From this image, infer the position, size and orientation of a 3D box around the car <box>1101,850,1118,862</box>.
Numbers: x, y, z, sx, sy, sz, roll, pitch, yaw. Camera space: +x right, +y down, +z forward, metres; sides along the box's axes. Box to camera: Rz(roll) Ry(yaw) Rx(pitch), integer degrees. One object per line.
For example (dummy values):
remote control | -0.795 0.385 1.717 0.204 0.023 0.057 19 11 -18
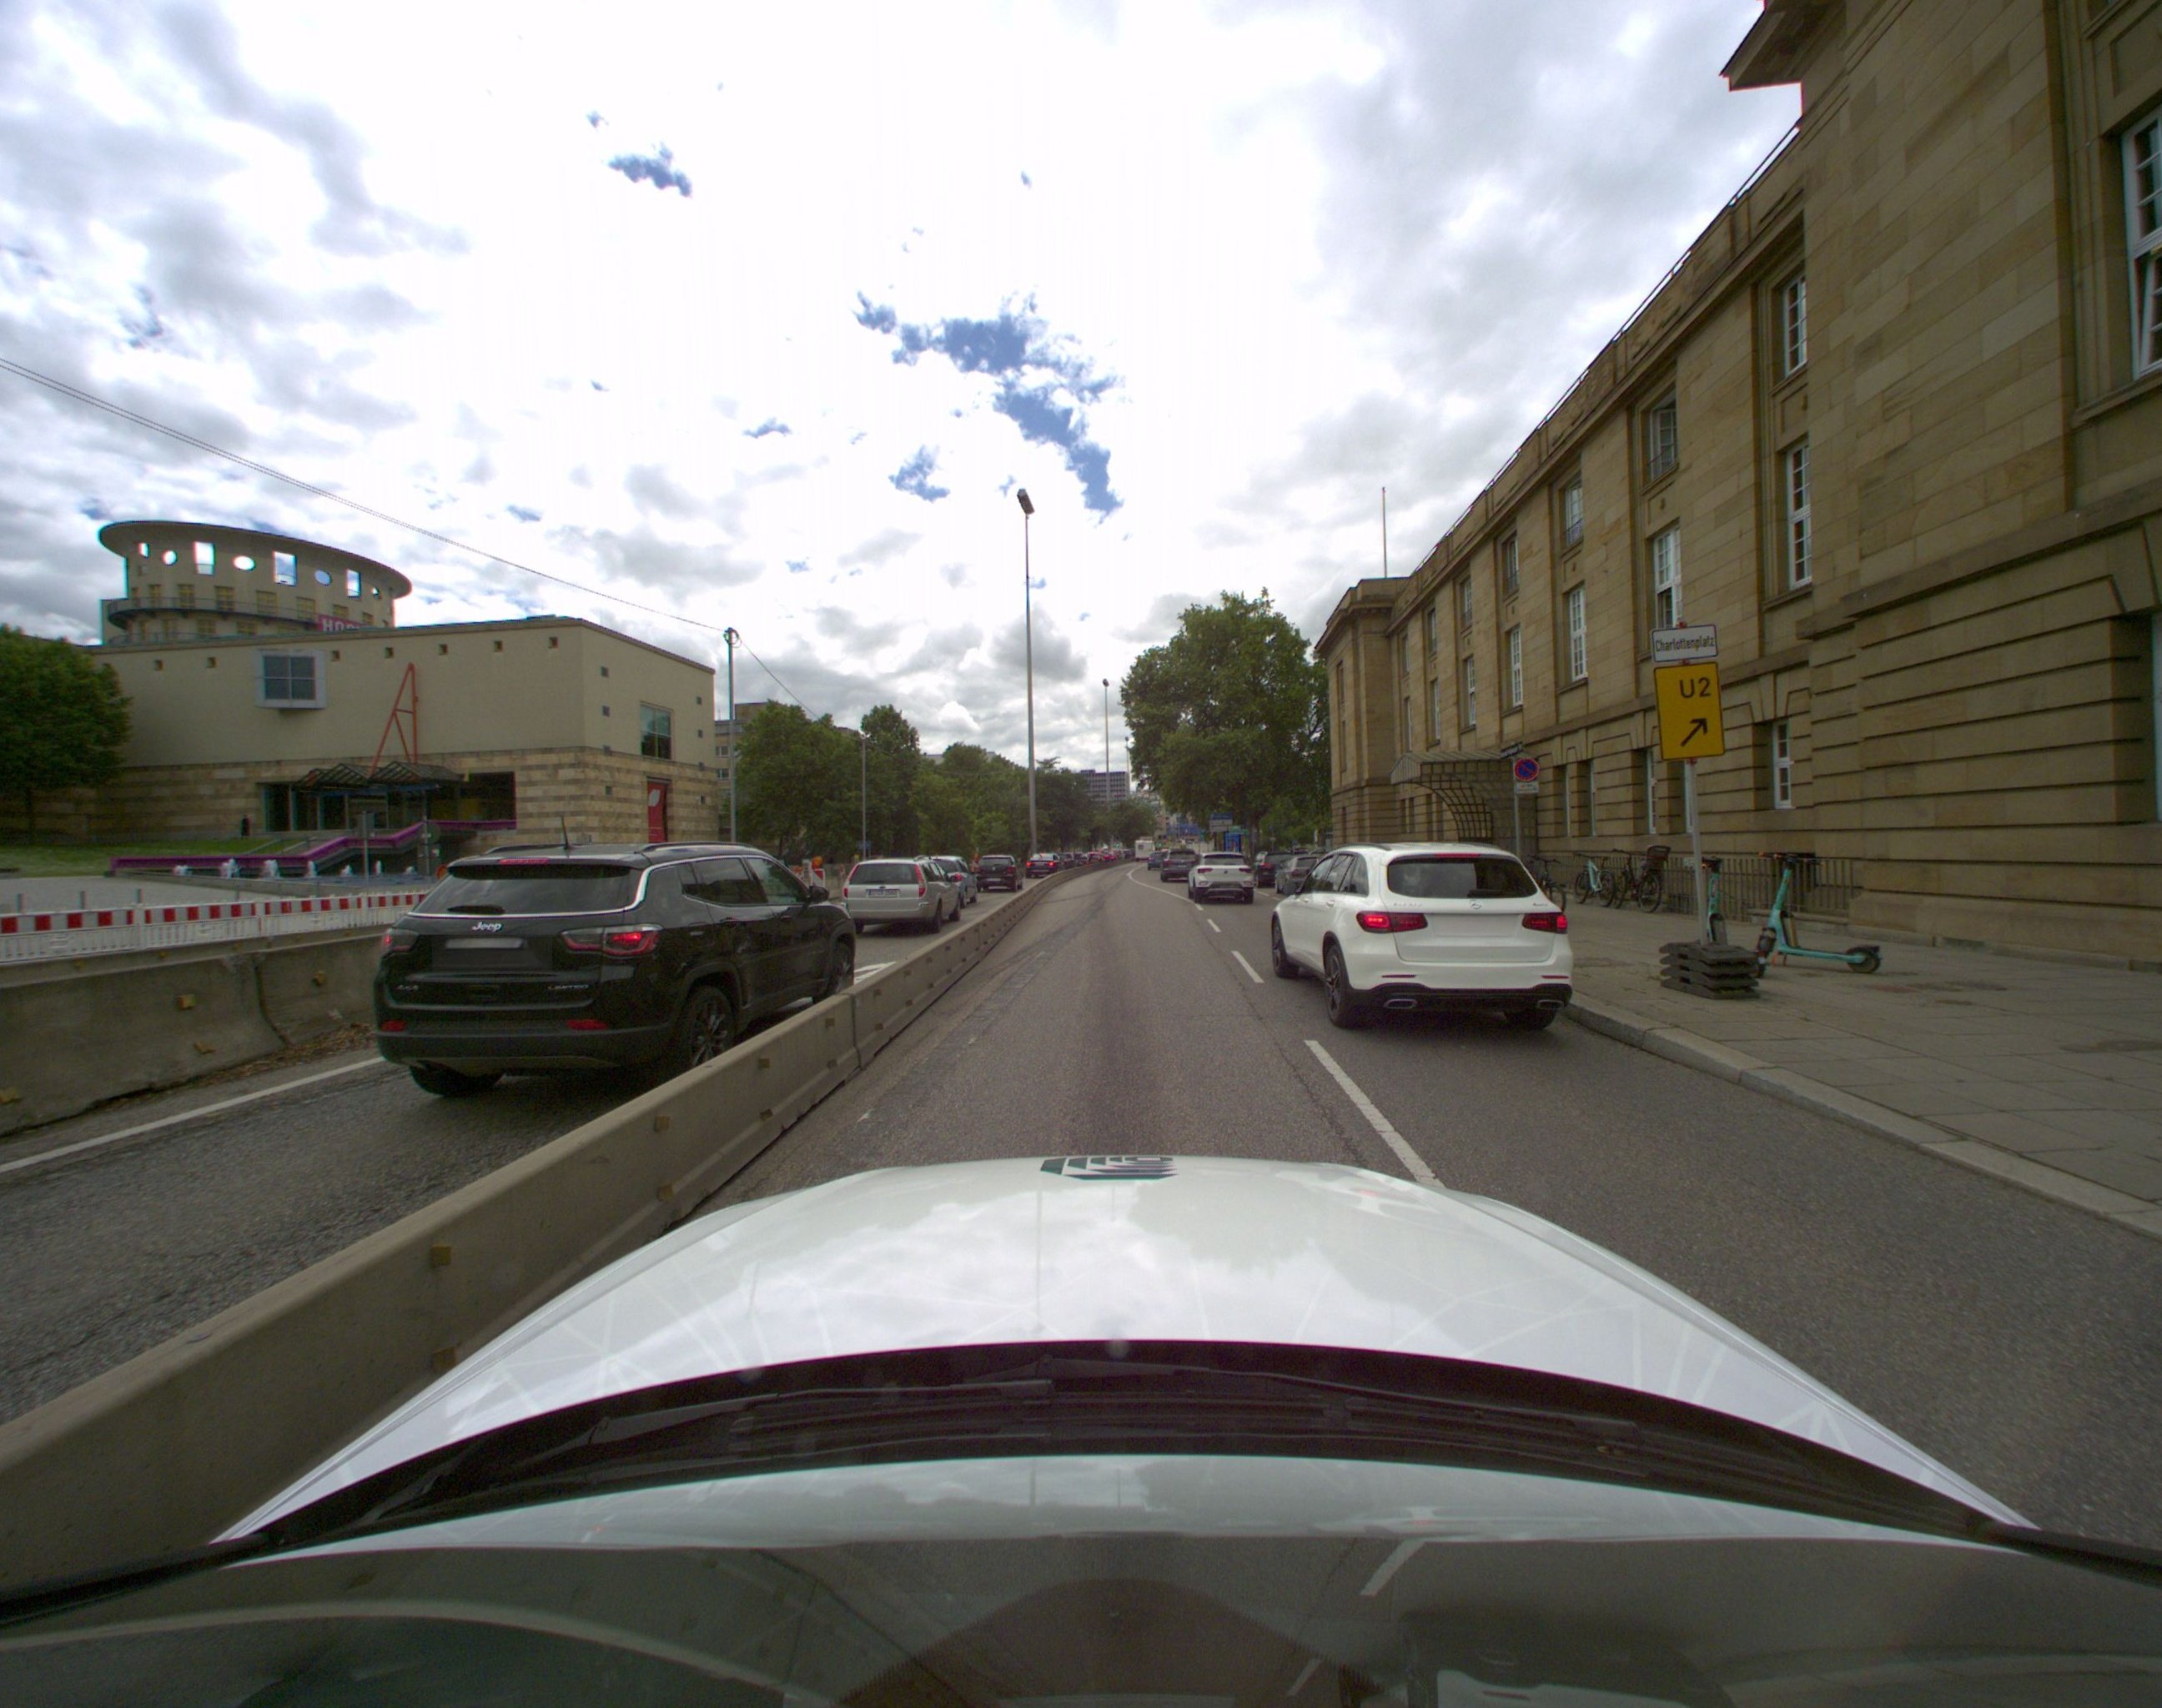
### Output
car | 3.286 0.199 93.462 1.650 1.319 3.555 0 0 8

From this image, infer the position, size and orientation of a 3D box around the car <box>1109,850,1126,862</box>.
car | 4.462 0.231 99.319 1.649 1.319 3.557 0 0 10

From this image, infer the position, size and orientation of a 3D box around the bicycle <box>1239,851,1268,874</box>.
bicycle | 9.581 0.451 45.267 1.528 1.256 0.546 0 0 25

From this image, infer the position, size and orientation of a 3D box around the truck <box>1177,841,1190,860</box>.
truck | 23.114 -0.781 184.452 2.862 4.103 6.651 0 0 7

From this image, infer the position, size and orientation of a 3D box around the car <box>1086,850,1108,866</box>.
car | 1.546 0.367 77.898 1.653 1.436 3.967 0 0 6

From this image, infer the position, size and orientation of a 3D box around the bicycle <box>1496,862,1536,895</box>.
bicycle | 11.553 0.628 21.652 0.304 0.844 1.882 1 0 8

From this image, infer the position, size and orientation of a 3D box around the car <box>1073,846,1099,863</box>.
car | 0.467 0.024 70.116 1.669 1.367 4.551 -1 0 6

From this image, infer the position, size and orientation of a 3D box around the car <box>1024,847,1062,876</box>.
car | -2.198 0.412 48.505 1.916 1.636 4.938 0 0 2

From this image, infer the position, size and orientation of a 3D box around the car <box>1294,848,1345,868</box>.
car | 19.696 0.300 67.270 3.816 1.568 1.682 -1 0 6

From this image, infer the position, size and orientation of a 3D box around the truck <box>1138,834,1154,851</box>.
truck | 11.769 -2.014 146.790 2.678 2.992 5.647 1 0 6

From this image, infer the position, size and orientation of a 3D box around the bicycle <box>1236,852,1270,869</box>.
bicycle | 9.644 0.349 45.701 1.712 0.917 0.617 -1 0 25

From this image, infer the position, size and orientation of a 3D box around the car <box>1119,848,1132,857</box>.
car | 6.593 -0.273 120.065 1.650 1.319 3.555 0 0 8

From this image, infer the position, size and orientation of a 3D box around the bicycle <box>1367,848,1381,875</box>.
bicycle | 13.194 0.339 36.709 0.274 1.183 1.542 -2 0 9

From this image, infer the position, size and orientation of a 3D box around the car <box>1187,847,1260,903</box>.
car | 4.388 0.601 25.538 1.789 1.608 3.757 0 0 2

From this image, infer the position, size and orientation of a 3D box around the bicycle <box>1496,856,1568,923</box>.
bicycle | 8.413 0.632 15.261 0.457 1.156 1.834 -1 0 5

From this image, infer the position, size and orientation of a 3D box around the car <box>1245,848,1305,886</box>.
car | 8.177 0.507 34.654 1.780 1.486 4.330 0 0 4

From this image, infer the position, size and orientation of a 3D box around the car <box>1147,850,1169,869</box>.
car | 6.166 0.432 65.076 1.650 1.413 3.554 0 0 6

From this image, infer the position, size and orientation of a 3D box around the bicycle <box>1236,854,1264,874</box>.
bicycle | 9.683 0.569 46.691 1.614 1.130 0.467 0 0 -20

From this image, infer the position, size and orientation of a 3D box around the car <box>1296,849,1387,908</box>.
car | 7.146 0.622 22.680 1.607 1.455 3.865 -3 0 6

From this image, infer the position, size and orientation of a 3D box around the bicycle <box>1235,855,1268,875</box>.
bicycle | 9.358 0.580 44.771 1.647 1.074 0.588 -1 0 26

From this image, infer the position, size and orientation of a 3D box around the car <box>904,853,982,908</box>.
car | -4.023 0.718 24.312 1.667 1.507 3.853 0 0 0

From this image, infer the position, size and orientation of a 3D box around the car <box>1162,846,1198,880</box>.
car | 4.990 0.430 41.506 1.651 1.639 3.551 0 0 4

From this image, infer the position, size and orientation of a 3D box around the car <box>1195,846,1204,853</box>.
car | 26.603 -0.996 182.638 1.749 1.669 4.176 -1 0 7

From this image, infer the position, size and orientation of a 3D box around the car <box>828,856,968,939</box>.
car | -3.642 0.791 17.145 1.872 1.481 4.704 0 0 0

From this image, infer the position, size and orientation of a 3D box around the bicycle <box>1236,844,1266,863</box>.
bicycle | 10.157 -0.046 48.621 1.714 1.091 0.382 0 0 19

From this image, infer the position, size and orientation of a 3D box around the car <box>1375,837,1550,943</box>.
car | 6.607 0.550 14.551 1.538 1.552 3.713 -4 0 4

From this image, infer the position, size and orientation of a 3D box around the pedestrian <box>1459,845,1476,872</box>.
pedestrian | 12.881 0.147 27.144 0.427 0.873 0.374 1 -1 7

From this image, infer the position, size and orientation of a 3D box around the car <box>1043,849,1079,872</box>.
car | -1.354 0.454 56.930 1.807 1.499 4.778 -1 0 7

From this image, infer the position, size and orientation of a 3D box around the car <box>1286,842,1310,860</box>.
car | 21.230 -0.289 79.676 1.750 1.551 4.036 -1 2 8

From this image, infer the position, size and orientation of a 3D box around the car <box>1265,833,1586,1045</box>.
car | 3.184 0.654 8.572 1.780 1.625 4.442 0 0 4

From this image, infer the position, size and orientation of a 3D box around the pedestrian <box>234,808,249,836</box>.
pedestrian | -61.244 -2.321 59.383 0.409 2.014 0.602 1 0 6

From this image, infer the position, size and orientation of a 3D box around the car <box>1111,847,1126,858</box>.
car | 5.015 -0.199 108.309 1.650 1.319 3.555 0 0 8

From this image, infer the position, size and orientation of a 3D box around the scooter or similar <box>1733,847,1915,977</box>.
scooter or similar | 7.811 0.582 8.637 0.451 1.253 1.362 -1 -1 -14

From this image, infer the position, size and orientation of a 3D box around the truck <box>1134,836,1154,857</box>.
truck | 8.906 -0.990 114.434 2.607 2.861 7.091 0 0 6

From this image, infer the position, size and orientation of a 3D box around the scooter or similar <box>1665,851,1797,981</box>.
scooter or similar | 6.872 0.605 8.683 0.377 1.261 1.405 -1 0 6

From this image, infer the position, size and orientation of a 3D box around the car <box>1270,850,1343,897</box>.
car | 7.628 0.607 27.893 1.700 1.426 4.003 -2 0 5

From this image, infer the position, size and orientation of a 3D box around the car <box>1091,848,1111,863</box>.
car | 2.122 0.151 85.590 1.767 1.420 4.007 -1 0 6

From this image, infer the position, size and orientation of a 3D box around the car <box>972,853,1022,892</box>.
car | -3.353 0.692 33.098 1.654 1.454 4.195 0 0 -1

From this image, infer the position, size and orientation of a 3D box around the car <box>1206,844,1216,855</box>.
car | 25.488 -0.858 159.949 1.982 2.013 4.009 0 0 8

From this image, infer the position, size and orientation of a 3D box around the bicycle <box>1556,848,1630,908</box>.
bicycle | 11.098 0.493 17.710 0.552 1.217 1.919 -1 0 6

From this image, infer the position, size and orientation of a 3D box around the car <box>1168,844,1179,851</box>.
car | 16.776 -1.144 147.778 1.936 1.319 4.026 0 0 8

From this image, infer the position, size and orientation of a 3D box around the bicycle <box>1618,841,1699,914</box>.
bicycle | 10.807 0.414 15.304 0.410 1.288 1.793 -1 0 6

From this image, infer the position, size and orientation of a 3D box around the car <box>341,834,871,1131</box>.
car | -3.144 0.715 6.511 1.769 1.621 4.048 0 0 2
